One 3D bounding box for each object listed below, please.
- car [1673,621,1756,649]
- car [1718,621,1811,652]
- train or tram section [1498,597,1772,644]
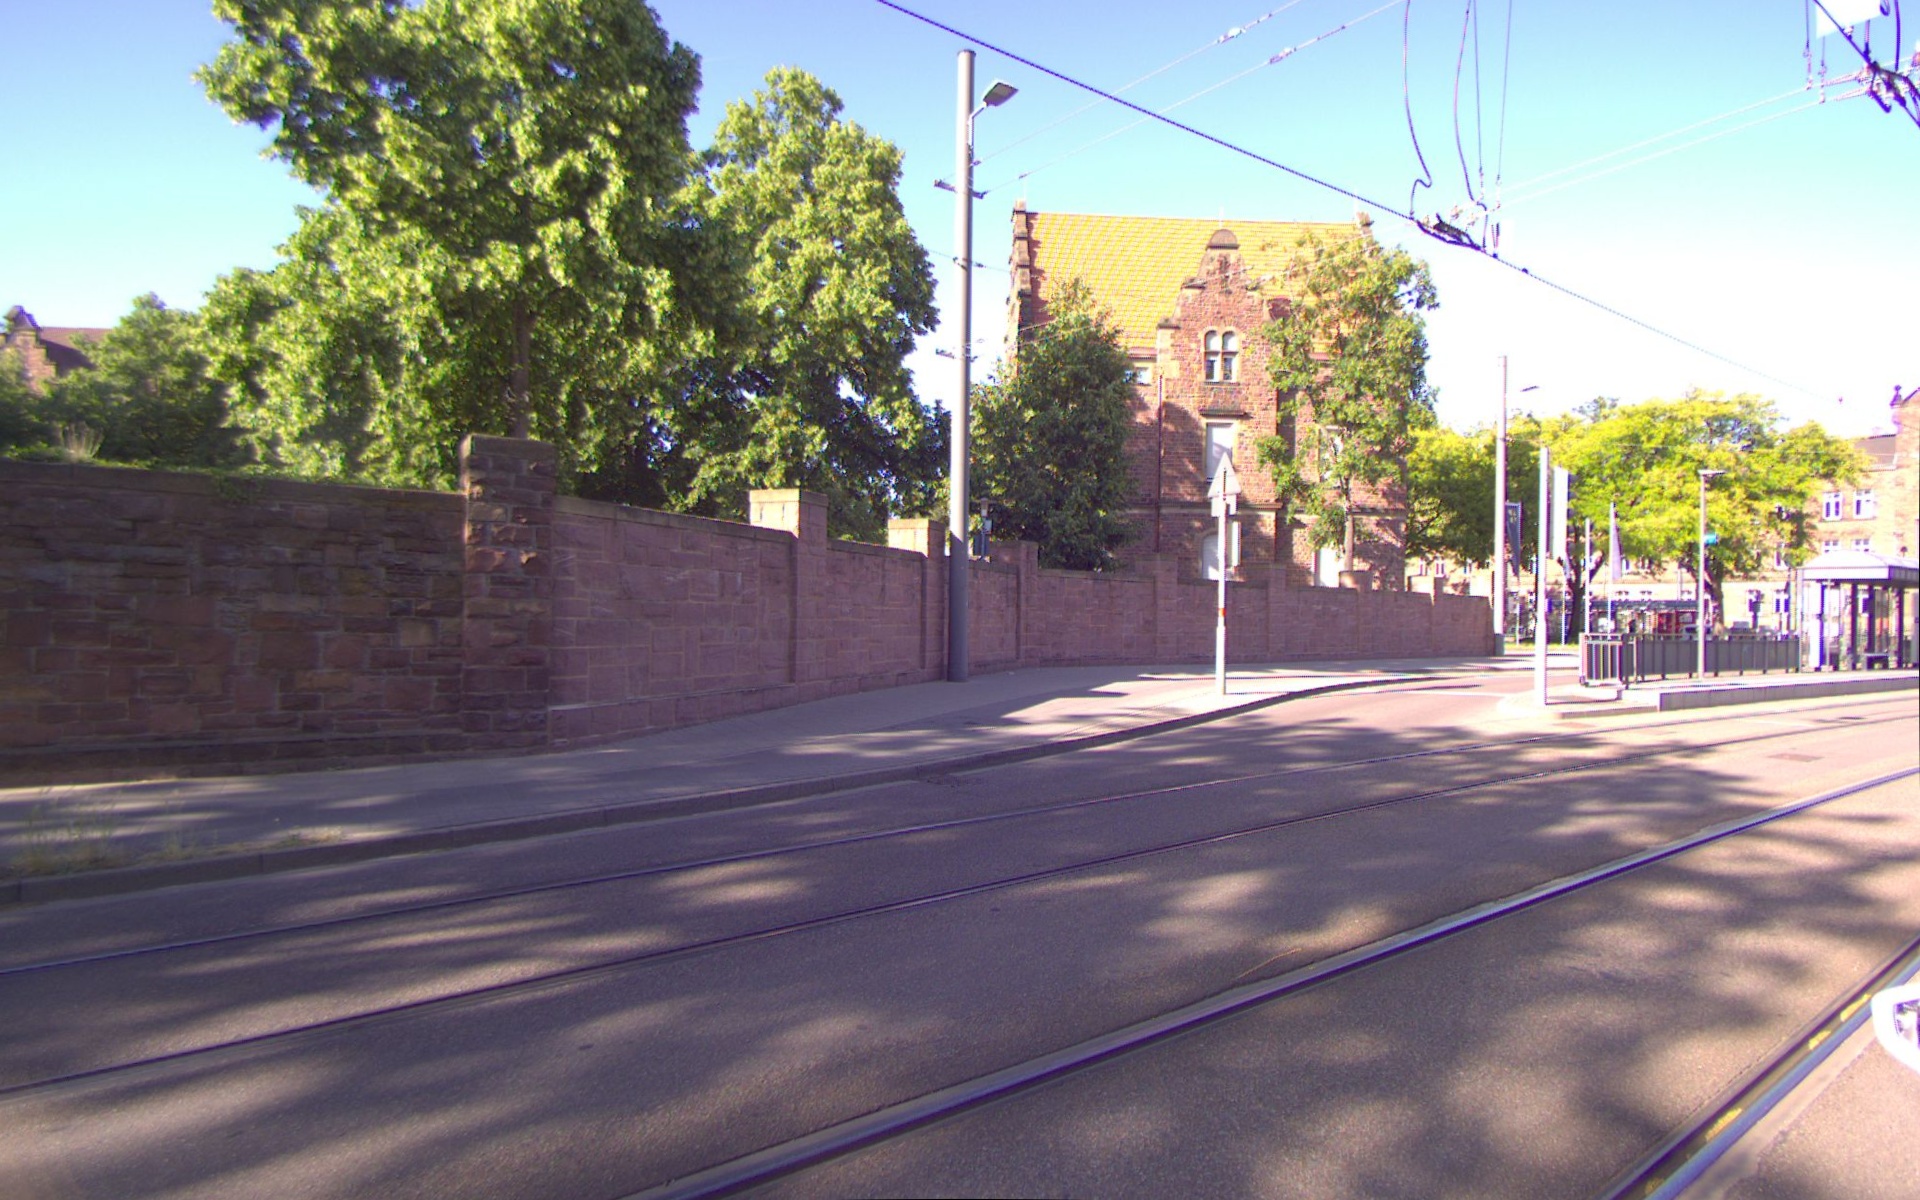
[{"bbox_3d":[49.237,2.244,65.637,1.798,1.651,3.964,2,0,-32],"label":"car"},{"bbox_3d":[47.809,2.160,59.754,1.798,1.651,3.964,2,0,-32],"label":"car"},{"bbox_3d":[50.092,1.464,75.842,3.312,3.196,17.281,2,-1,-33],"label":"train or tram section"}]
